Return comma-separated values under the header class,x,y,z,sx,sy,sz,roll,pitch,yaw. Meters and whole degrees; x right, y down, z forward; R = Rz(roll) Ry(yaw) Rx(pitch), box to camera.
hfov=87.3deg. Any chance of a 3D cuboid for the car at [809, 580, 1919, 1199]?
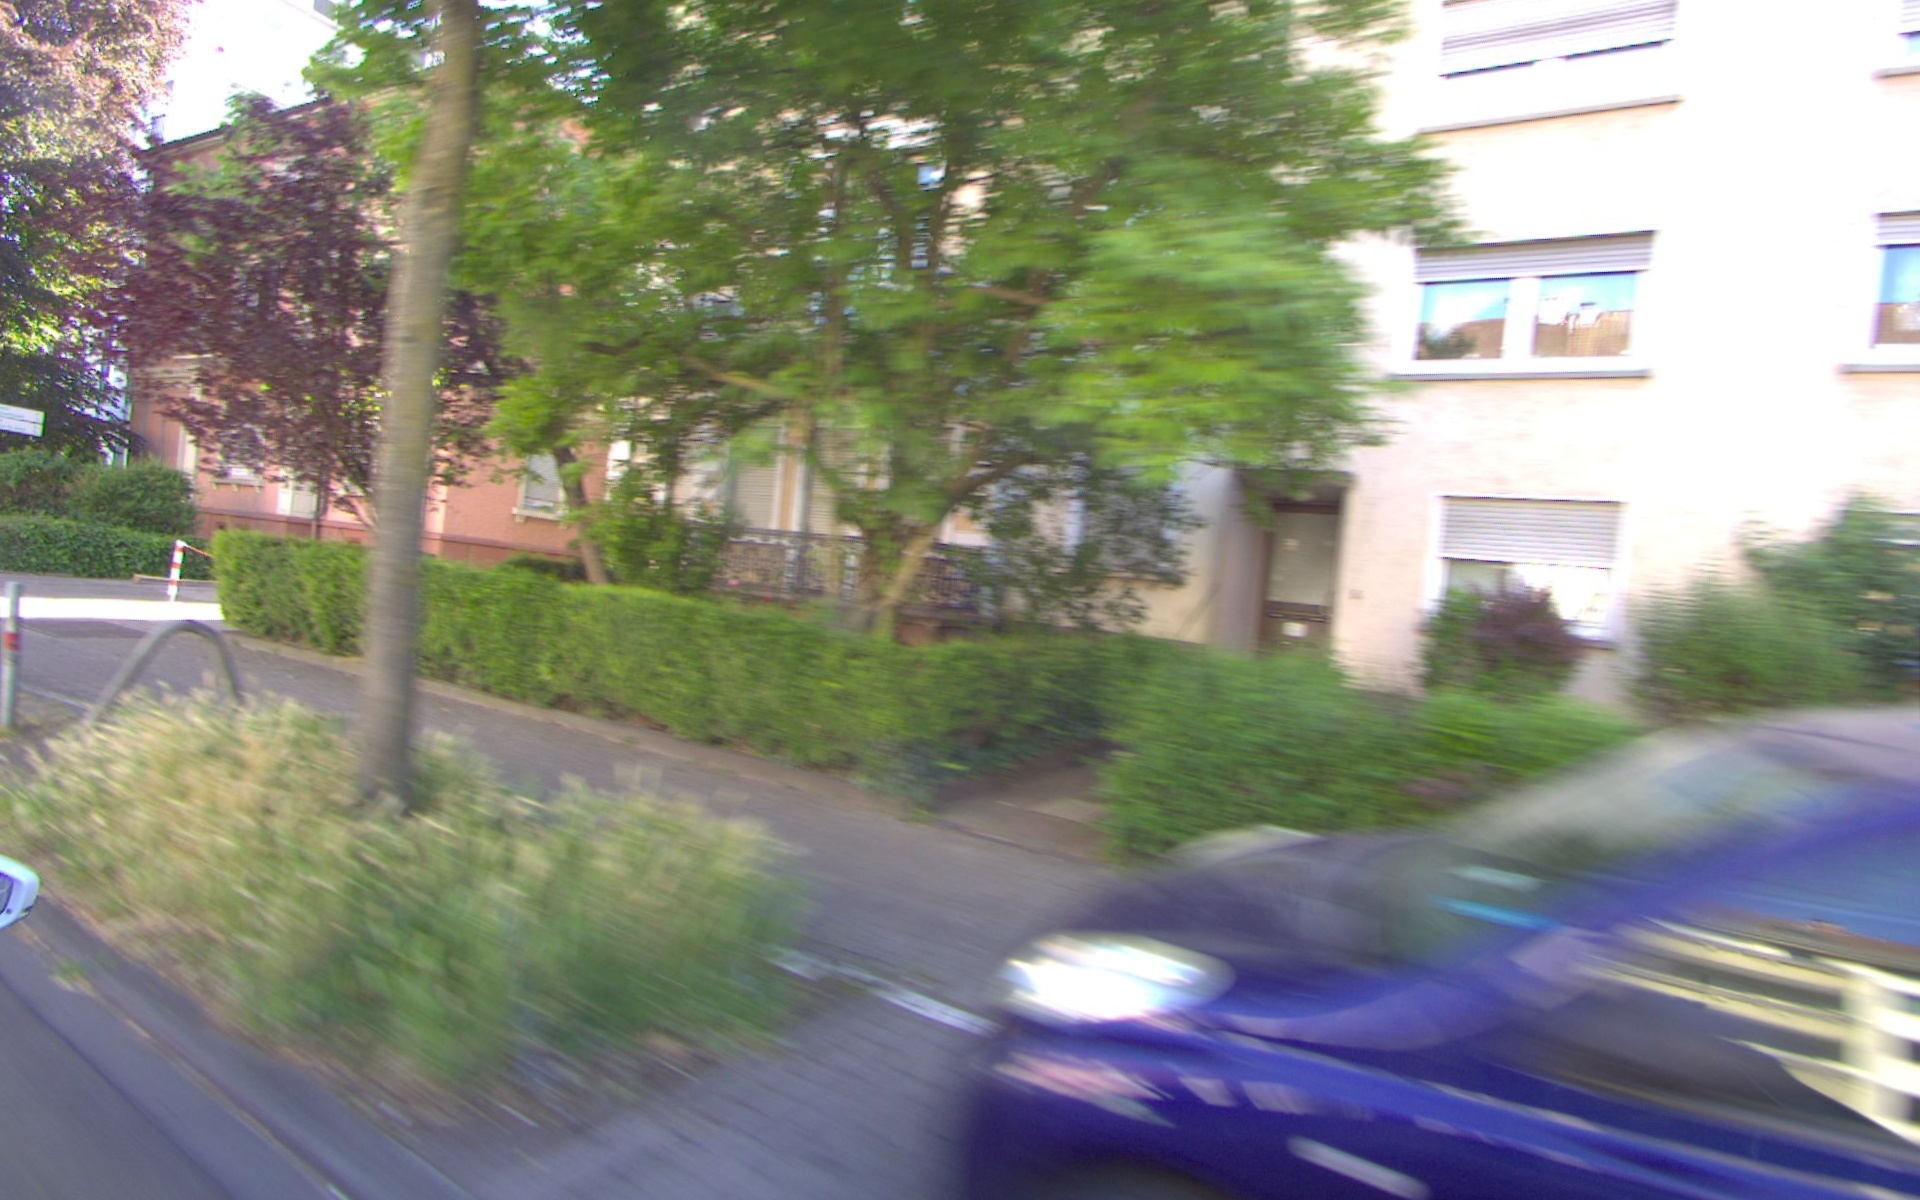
class,x,y,z,sx,sy,sz,roll,pitch,yaw
car,1.679,0.928,1.750,3.592,1.535,1.560,7,3,29
